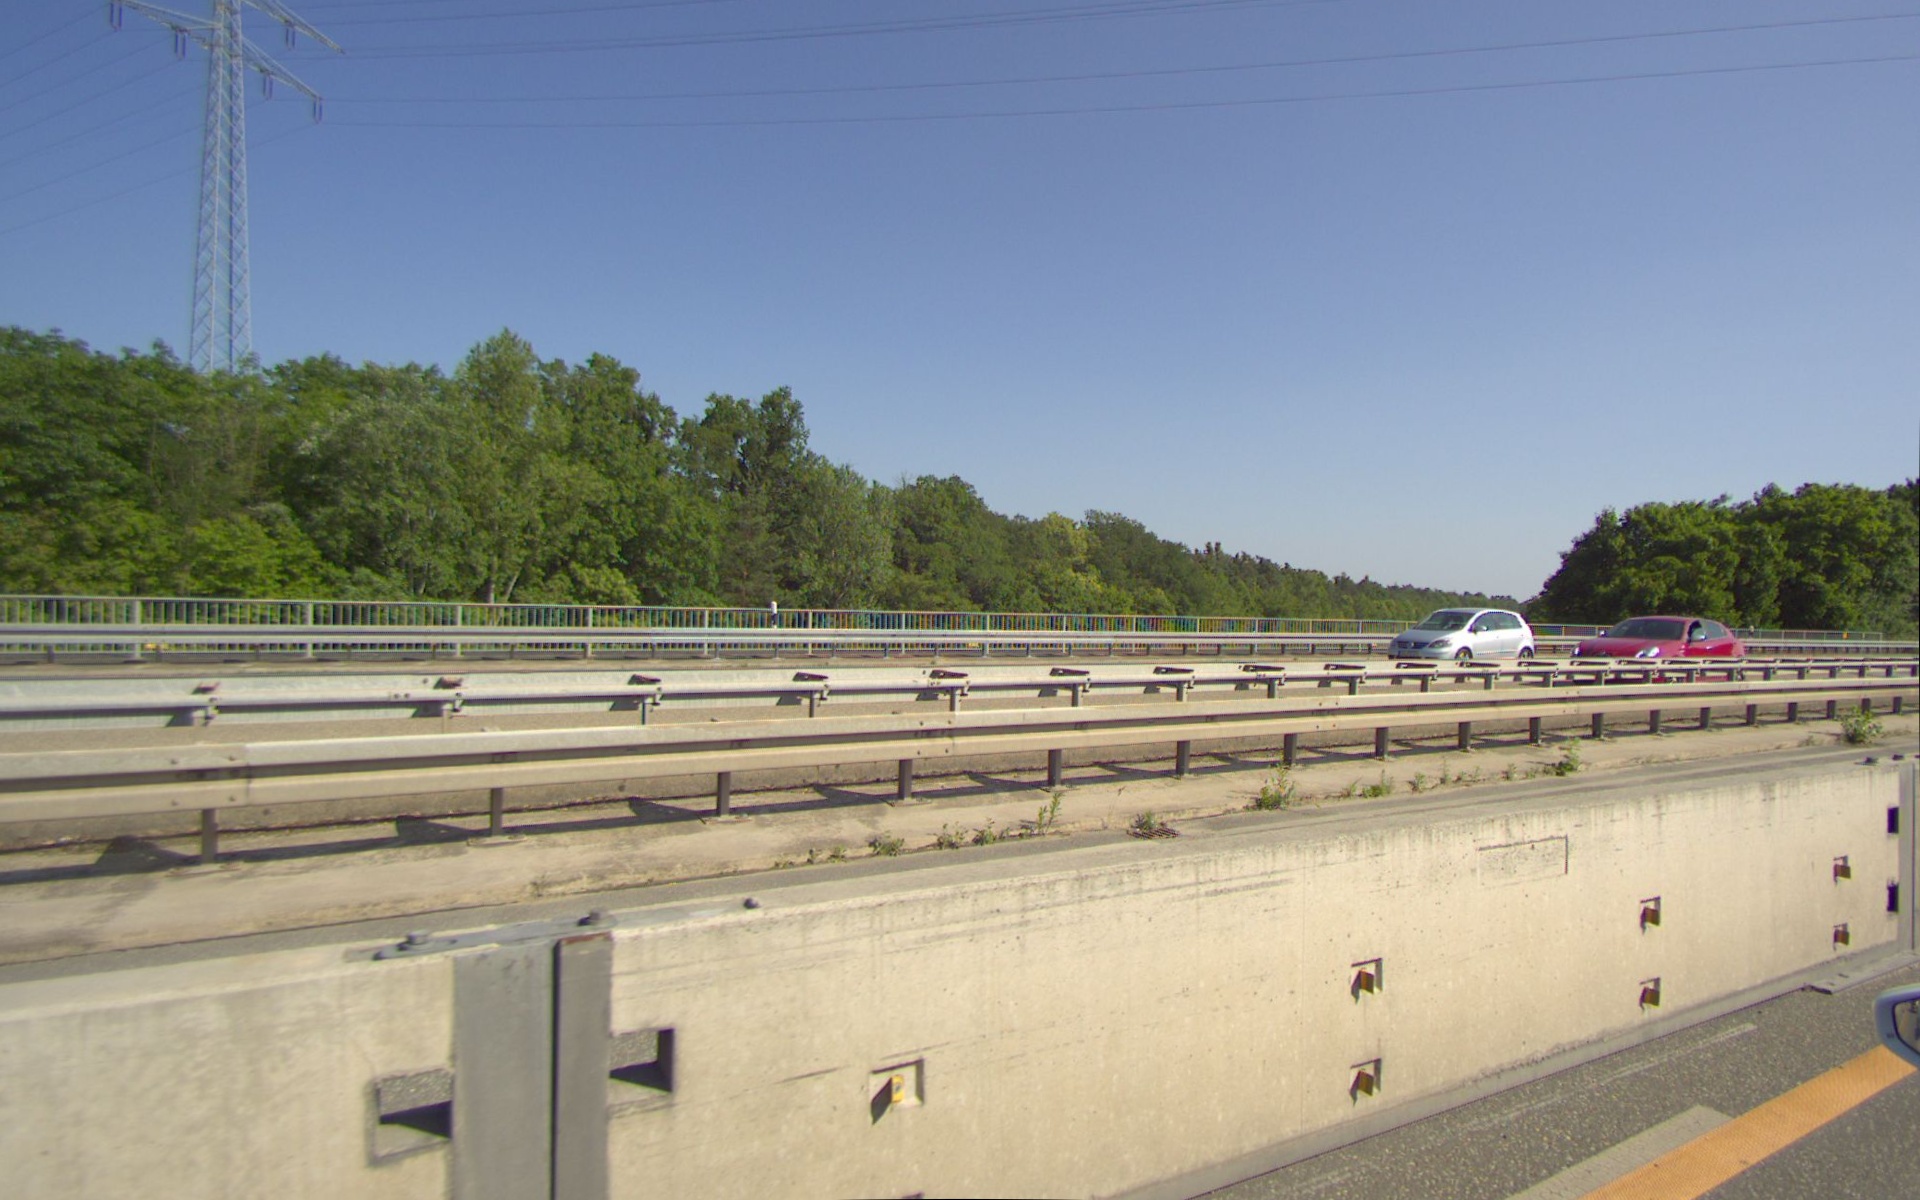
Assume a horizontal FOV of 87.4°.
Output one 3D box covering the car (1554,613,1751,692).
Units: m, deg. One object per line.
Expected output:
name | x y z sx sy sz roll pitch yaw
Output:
car | 14.012 1.027 20.278 4.173 1.415 1.705 2 0 -31

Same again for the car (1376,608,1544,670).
car | 12.213 0.938 24.494 4.078 1.411 1.768 2 -1 -31
